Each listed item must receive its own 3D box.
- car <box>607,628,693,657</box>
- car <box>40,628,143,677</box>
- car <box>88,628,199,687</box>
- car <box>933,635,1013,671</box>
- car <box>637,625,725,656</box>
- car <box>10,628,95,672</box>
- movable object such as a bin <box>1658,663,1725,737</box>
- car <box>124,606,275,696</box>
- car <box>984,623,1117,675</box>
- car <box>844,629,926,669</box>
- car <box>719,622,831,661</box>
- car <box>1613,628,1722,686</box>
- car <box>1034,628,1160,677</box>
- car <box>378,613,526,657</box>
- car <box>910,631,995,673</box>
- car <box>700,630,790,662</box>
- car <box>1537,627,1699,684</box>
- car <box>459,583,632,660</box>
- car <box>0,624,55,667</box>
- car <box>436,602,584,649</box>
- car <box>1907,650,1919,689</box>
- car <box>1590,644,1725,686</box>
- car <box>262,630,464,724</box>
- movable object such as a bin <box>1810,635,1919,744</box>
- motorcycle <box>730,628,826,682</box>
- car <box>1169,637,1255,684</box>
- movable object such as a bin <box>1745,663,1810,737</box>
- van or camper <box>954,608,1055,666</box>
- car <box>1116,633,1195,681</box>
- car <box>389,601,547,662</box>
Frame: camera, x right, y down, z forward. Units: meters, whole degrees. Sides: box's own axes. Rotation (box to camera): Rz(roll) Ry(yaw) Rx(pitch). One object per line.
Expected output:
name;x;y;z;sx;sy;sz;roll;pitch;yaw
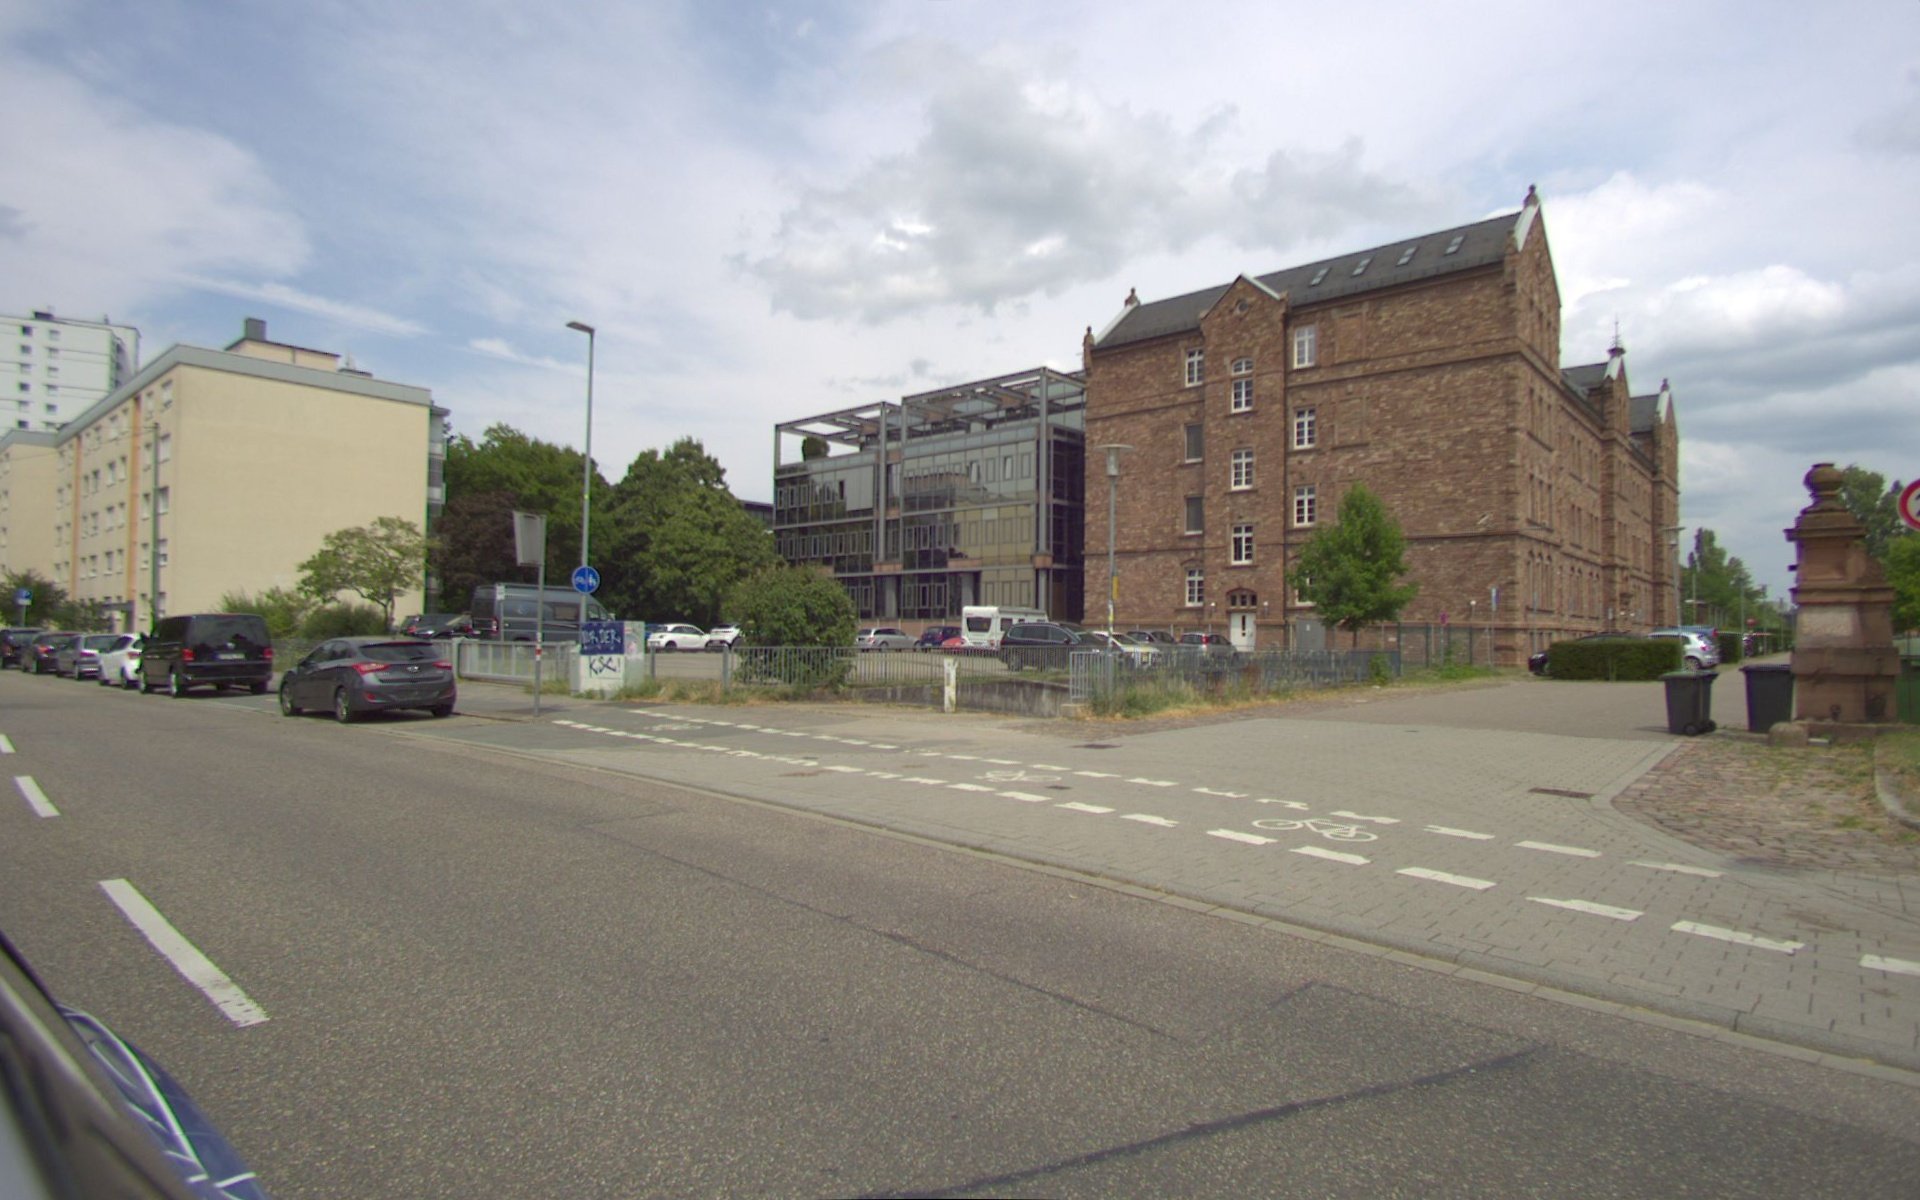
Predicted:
car;-16.370;2.247;53.558;1.856;1.494;3.946;-1;-3;40
car;-27.578;1.640;32.099;4.257;1.468;1.671;-2;-3;38
car;-23.085;1.588;28.577;3.759;1.541;1.638;-2;-2;38
car;0.715;2.813;53.222;1.727;1.798;4.312;-2;-5;44
car;-14.303;2.080;51.999;1.969;1.494;3.946;-1;-3;40
car;-32.100;1.730;35.759;4.045;1.481;1.670;-1;-3;40
movable object such as a bin;10.951;1.474;15.150;0.709;1.041;1.027;-1;-3;42
car;-18.927;1.227;25.115;4.839;2.019;1.929;-2;-2;40
car;3.106;1.678;35.081;4.231;1.669;1.944;-1;-3;40
car;-4.256;2.810;58.044;2.205;2.153;4.312;-2;-5;44
car;-8.584;1.960;47.202;2.330;1.677;4.642;-2;-5;42
car;34.691;2.790;49.709;4.166;2.734;1.567;-3;-4;42
car;5.019;1.889;37.425;4.231;1.669;1.944;-1;-3;40
car;-20.713;1.486;41.462;2.001;1.686;5.030;-2;-4;43
car;-0.367;2.842;55.107;2.205;2.153;4.312;-2;-5;44
car;-10.360;2.216;49.011;1.615;1.494;4.113;-1;-3;40
car;21.257;1.786;32.808;4.168;1.724;1.566;-3;-4;43
car;-14.720;0.737;36.175;2.354;2.571;5.254;-2;-1;42
car;-36.586;1.747;39.086;3.992;1.587;1.607;-1;-3;36
car;-16.755;1.018;37.879;2.000;1.630;4.646;-2;-4;42
car;44.418;3.025;44.665;3.695;1.724;1.567;-5;-6;42
car;27.399;2.545;39.844;4.167;1.562;1.566;-3;-4;43
car;-10.993;1.326;18.528;4.292;1.484;1.805;-2;-1;39
movable object such as a bin;13.299;1.260;14.566;1.570;1.479;1.188;-1;-3;42
motorcycle;-4.132;1.267;23.112;0.725;1.151;2.067;-2;-5;44
car;11.284;2.712;45.136;1.875;1.952;4.457;-2;-5;42
movable object such as a bin;12.385;1.488;15.324;0.709;1.041;1.027;-1;-3;42
van or camper;2.312;1.902;51.027;2.579;2.723;4.998;-1;-4;39
car;9.133;2.676;47.011;1.725;2.153;4.316;-2;-5;40
car;-19.087;1.290;39.419;2.228;2.166;5.030;-2;-5;43
